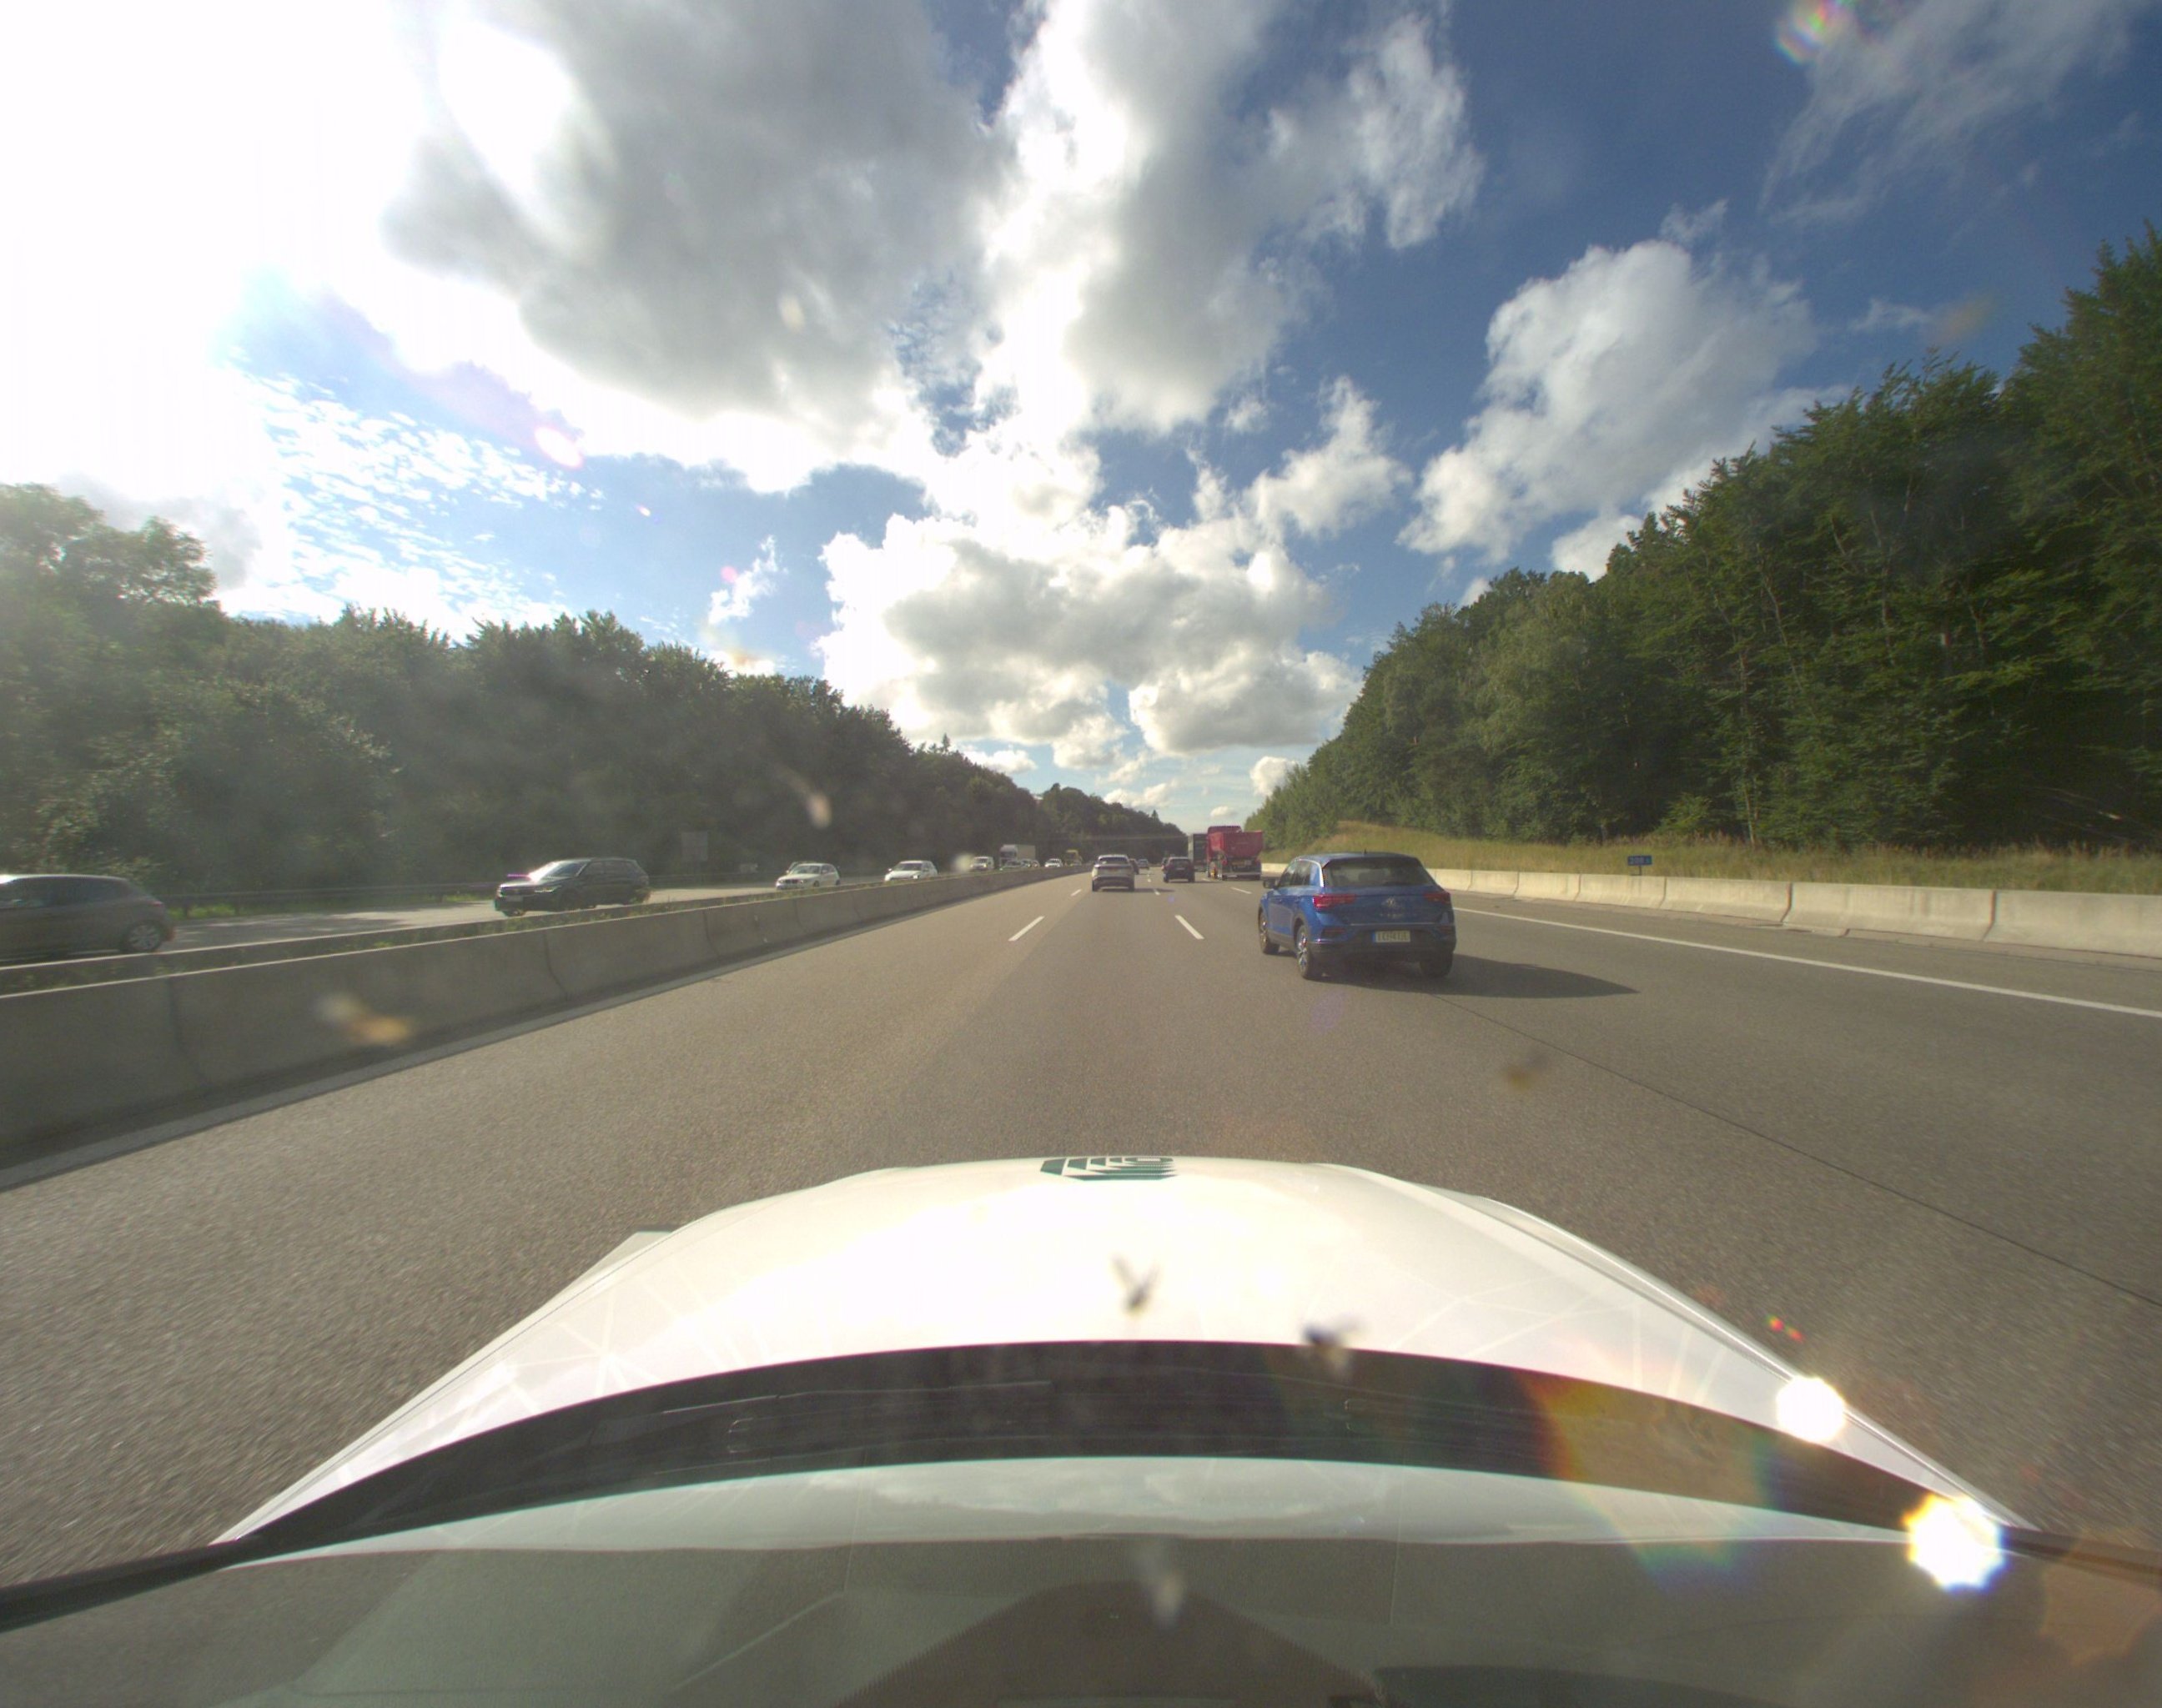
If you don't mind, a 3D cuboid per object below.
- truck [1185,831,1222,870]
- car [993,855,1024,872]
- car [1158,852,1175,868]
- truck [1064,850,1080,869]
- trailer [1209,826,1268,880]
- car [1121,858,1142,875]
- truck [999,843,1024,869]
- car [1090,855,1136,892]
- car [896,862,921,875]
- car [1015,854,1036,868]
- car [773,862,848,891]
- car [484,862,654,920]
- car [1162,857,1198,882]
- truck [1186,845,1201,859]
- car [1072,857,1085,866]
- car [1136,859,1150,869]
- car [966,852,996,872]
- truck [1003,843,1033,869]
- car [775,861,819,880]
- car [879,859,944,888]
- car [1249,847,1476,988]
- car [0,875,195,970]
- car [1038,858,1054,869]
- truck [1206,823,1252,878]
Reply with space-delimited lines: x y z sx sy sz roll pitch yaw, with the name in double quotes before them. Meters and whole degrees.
"truck" 13.183 -0.380 88.500 3.105 3.935 10.422 -1 0 4
"car" -6.253 0.832 70.433 1.985 1.390 4.752 -1 0 3
"car" 10.265 0.674 97.887 1.885 1.857 4.104 -1 0 3
"truck" -1.827 1.106 171.124 2.764 3.810 7.143 -1 0 5
"trailer" 10.243 -0.058 53.935 2.698 3.231 9.743 -1 0 4
"car" 4.793 1.168 77.159 1.813 1.546 4.006 0 0 5
"truck" -11.101 0.290 129.747 2.693 4.068 6.609 -1 0 6
"car" 1.545 0.842 38.347 1.998 1.616 5.305 -1 0 3
"car" -16.729 1.372 79.163 1.488 1.212 3.791 -1 0 3
"car" -6.955 0.868 102.025 1.984 1.687 4.685 -1 0 4
"car" -12.247 0.993 37.215 1.639 1.200 4.445 -1 0 4
"car" -14.855 1.020 23.996 1.713 1.479 4.638 -1 0 6
"car" 5.940 0.901 49.157 1.815 1.457 4.002 -1 0 2
"truck" 23.674 -0.390 171.344 2.828 2.925 8.404 -1 -1 8
"car" -0.509 1.380 151.847 1.984 1.486 4.990 -1 0 5
"car" 9.004 1.430 118.510 1.812 1.457 4.008 -1 0 7
"car" -9.727 0.768 79.811 1.984 1.837 4.735 -1 0 4
"truck" -10.380 0.354 136.100 2.693 4.068 13.110 -1 0 6
"car" -18.379 1.056 52.898 1.487 1.212 3.273 -1 0 4
"car" -8.299 0.918 40.394 1.986 1.308 4.835 -1 0 2
"car" 3.571 0.705 11.248 1.766 1.530 4.460 -1 0 3
"car" -16.951 1.064 12.806 1.631 1.354 4.000 -1 0 1
"car" -5.240 1.431 122.497 1.838 1.498 4.135 0 -1 6
"truck" 10.594 -0.232 58.840 2.697 3.719 5.824 -1 0 4
